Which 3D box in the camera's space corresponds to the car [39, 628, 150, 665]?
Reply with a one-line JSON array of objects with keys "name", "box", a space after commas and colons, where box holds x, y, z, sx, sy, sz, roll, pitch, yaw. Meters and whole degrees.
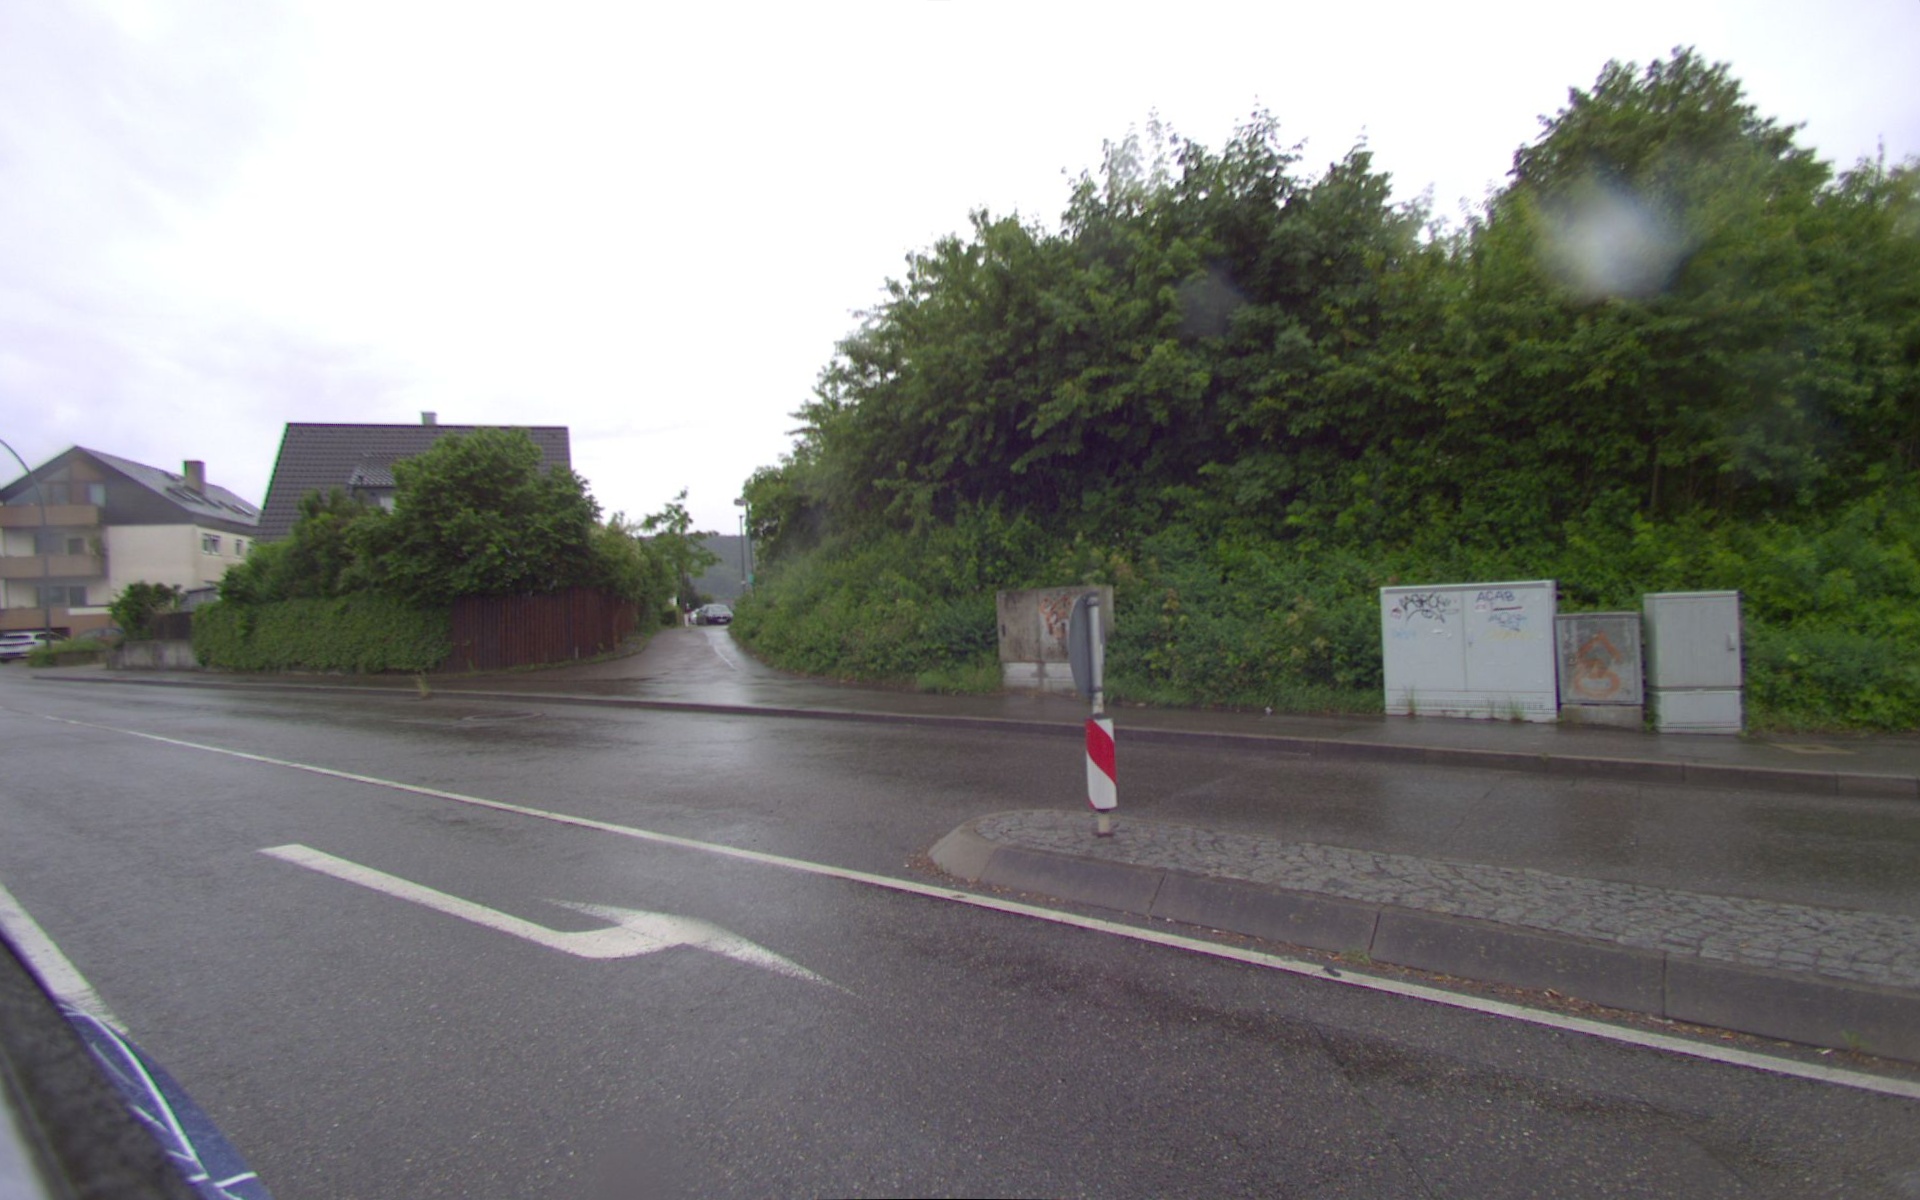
[{"name": "car", "box": [-41.363, 2.207, 48.467, 3.609, 1.530, 1.759, -2, 0, -15]}]

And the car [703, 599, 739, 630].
[{"name": "car", "box": [-15.583, 0.933, 66.165, 1.968, 1.873, 4.008, -2, 0, -9]}]

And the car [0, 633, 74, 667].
[{"name": "car", "box": [-46.773, 2.486, 50.939, 1.837, 1.530, 4.012, -2, 0, -18]}]

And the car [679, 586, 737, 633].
[{"name": "car", "box": [-9.165, 0.334, 37.045, 1.683, 1.600, 3.668, -1, 0, -8]}]
